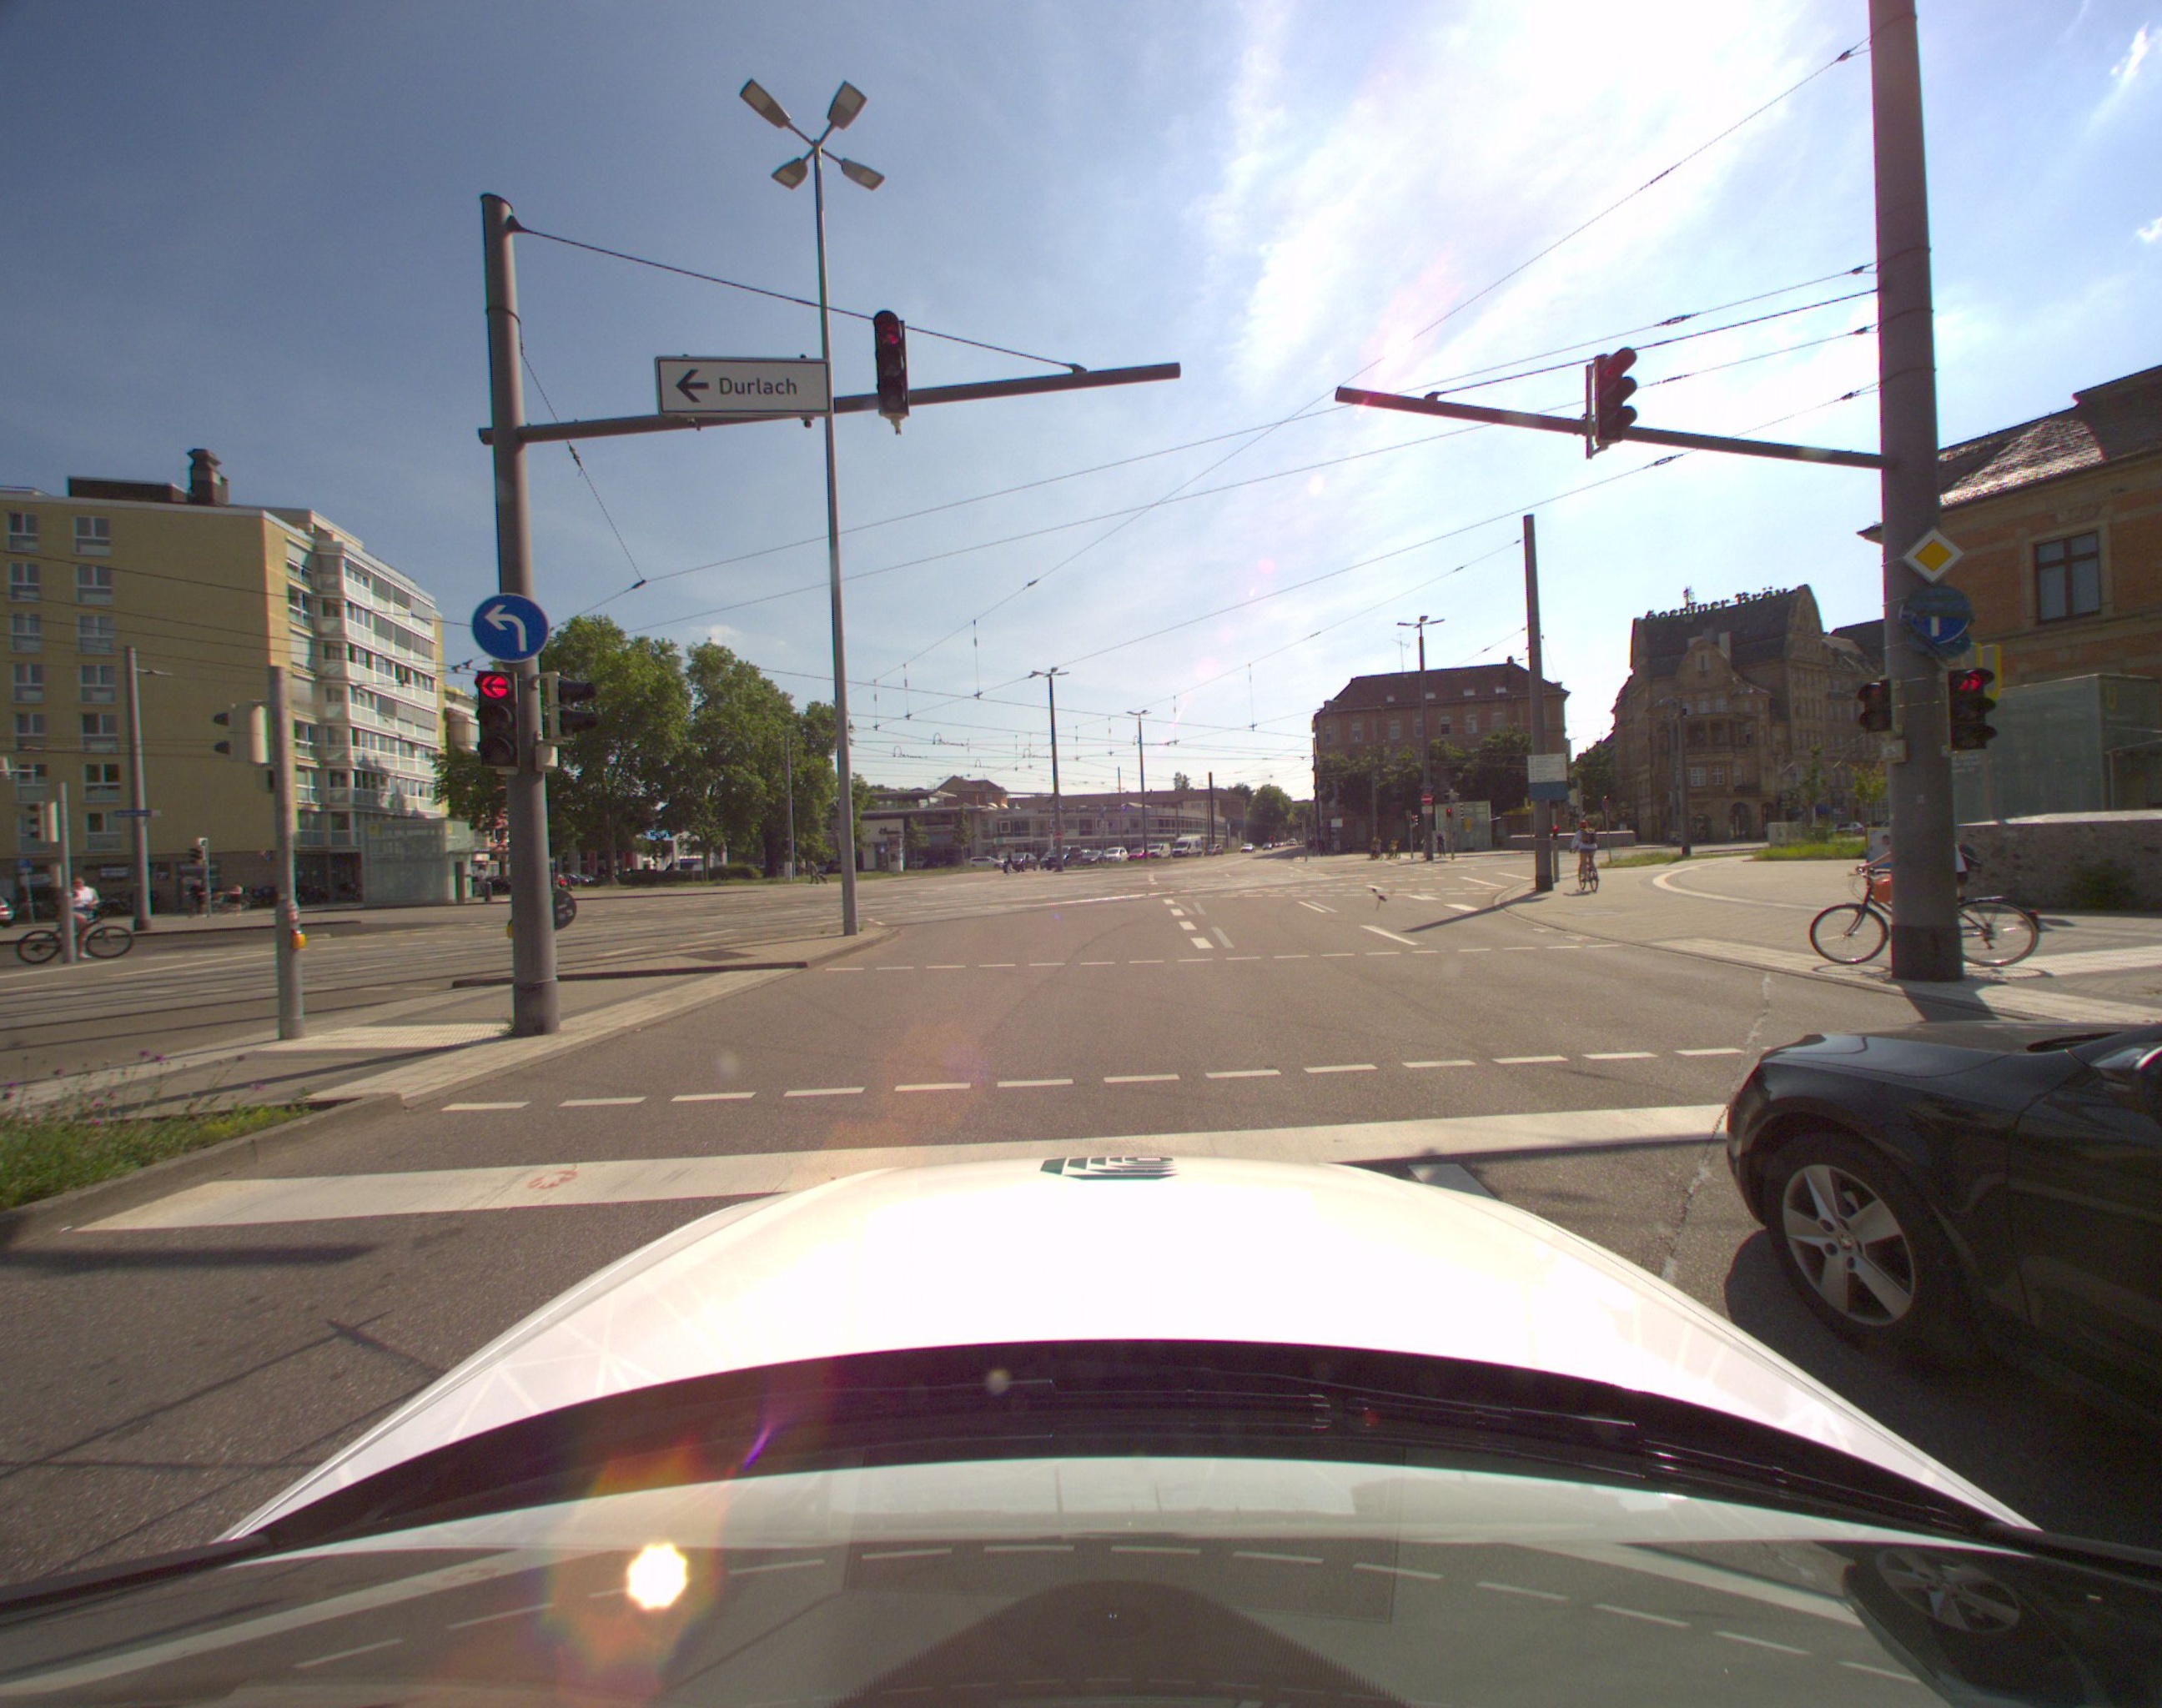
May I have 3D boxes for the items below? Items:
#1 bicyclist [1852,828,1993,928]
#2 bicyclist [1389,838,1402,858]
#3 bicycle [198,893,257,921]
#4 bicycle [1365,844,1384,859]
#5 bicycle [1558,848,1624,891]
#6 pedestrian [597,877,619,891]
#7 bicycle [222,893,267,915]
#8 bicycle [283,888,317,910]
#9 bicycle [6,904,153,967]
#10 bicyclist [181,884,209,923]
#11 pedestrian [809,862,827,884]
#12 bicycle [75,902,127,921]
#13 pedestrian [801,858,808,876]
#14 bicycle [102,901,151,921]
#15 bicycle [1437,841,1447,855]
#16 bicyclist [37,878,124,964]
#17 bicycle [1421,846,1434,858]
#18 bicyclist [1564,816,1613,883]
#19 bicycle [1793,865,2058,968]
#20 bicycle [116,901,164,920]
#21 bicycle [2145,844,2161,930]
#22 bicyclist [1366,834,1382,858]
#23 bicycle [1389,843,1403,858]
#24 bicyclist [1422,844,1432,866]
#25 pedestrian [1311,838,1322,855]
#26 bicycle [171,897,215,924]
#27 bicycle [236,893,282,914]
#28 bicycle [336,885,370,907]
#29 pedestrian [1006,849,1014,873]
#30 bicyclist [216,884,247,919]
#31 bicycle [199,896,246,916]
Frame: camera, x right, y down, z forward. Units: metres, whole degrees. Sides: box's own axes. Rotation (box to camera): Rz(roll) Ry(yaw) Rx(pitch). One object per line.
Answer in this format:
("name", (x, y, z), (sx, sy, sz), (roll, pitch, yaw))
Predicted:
("bicyclist", (9.318, 0.261, 9.065), (0.904, 1.029, 0.721), (-5, -1, 35))
("bicyclist", (23.548, -0.478, 60.944), (0.918, 1.451, 1.258), (-1, 1, 21))
("bicycle", (-39.356, 2.427, 37.592), (0.749, 1.130, 1.798), (-2, 0, 3))
("bicycle", (21.945, -0.197, 60.952), (0.920, 1.069, 2.755), (-1, -1, 12))
("bicycle", (13.465, 0.388, 21.559), (0.710, 1.015, 2.026), (-5, 0, 10))
("pedestrian", (-33.166, 2.131, 57.098), (1.175, 0.892, 0.818), (-2, 0, -18))
("bicycle", (-46.960, 2.809, 45.729), (1.747, 1.085, 0.583), (-3, 3, -4))
("bicycle", (-46.289, 2.673, 48.300), (0.540, 1.186, 1.881), (-2, 0, -13))
("bicycle", (-20.920, 1.691, 17.050), (1.843, 1.083, 0.749), (-4, 0, -9))
("bicyclist", (-40.788, 2.266, 37.494), (0.584, 1.735, 0.613), (-3, -1, -22))
("pedestrian", (-17.355, 1.255, 53.721), (1.117, 1.404, 0.652), (0, -1, -20))
("bicycle", (-53.564, 3.130, 44.518), (1.754, 0.916, 0.581), (-3, 1, -15))
("pedestrian", (-24.714, 1.177, 72.823), (0.388, 1.596, 0.467), (-1, -1, 25))
("bicycle", (-52.066, 3.119, 44.447), (1.750, 0.916, 0.582), (-3, 1, -8))
("bicycle", (26.923, -0.459, 60.691), (0.661, 1.069, 2.478), (-1, 1, 24))
("bicyclist", (-20.920, 1.380, 17.044), (0.774, 1.684, 0.749), (-4, 0, -9))
("bicycle", (26.081, -0.180, 61.349), (0.497, 0.866, 1.590), (0, 0, 7))
("bicyclist", (13.416, -0.120, 21.556), (0.710, 1.669, 0.877), (-5, -1, 10))
("bicycle", (9.293, 0.703, 9.093), (1.894, 1.015, 0.721), (-5, -1, 35))
("bicycle", (-51.989, 3.123, 45.010), (1.750, 0.916, 0.582), (-3, 1, -8))
("bicycle", (13.212, 0.364, 8.815), (0.711, 1.015, 2.021), (-4, -1, 2))
("bicyclist", (21.969, -0.581, 61.060), (0.920, 1.820, 1.056), (-1, -1, 11))
("bicycle", (23.552, -0.283, 60.927), (0.918, 1.069, 2.856), (-1, 1, 21))
("bicyclist", (26.083, 0.048, 61.391), (0.497, 1.621, 0.651), (0, 0, 7))
("pedestrian", (20.549, -0.625, 71.095), (0.616, 1.433, 0.705), (0, -1, -36))
("bicycle", (-40.934, 2.577, 37.563), (0.584, 1.130, 1.784), (-3, -1, -21))
("bicycle", (-46.813, 2.802, 46.391), (1.750, 1.043, 0.582), (-3, 1, -9))
("bicycle", (-44.390, 2.552, 49.677), (0.581, 1.219, 1.754), (-3, 1, -5))
("pedestrian", (-4.849, 0.460, 55.576), (0.456, 1.605, 0.396), (0, -1, -34))
("bicyclist", (-39.360, 2.188, 37.745), (0.728, 1.572, 0.613), (-3, -1, 2))
("bicycle", (-48.417, 2.916, 45.932), (1.751, 0.965, 0.582), (-3, 1, -11))
